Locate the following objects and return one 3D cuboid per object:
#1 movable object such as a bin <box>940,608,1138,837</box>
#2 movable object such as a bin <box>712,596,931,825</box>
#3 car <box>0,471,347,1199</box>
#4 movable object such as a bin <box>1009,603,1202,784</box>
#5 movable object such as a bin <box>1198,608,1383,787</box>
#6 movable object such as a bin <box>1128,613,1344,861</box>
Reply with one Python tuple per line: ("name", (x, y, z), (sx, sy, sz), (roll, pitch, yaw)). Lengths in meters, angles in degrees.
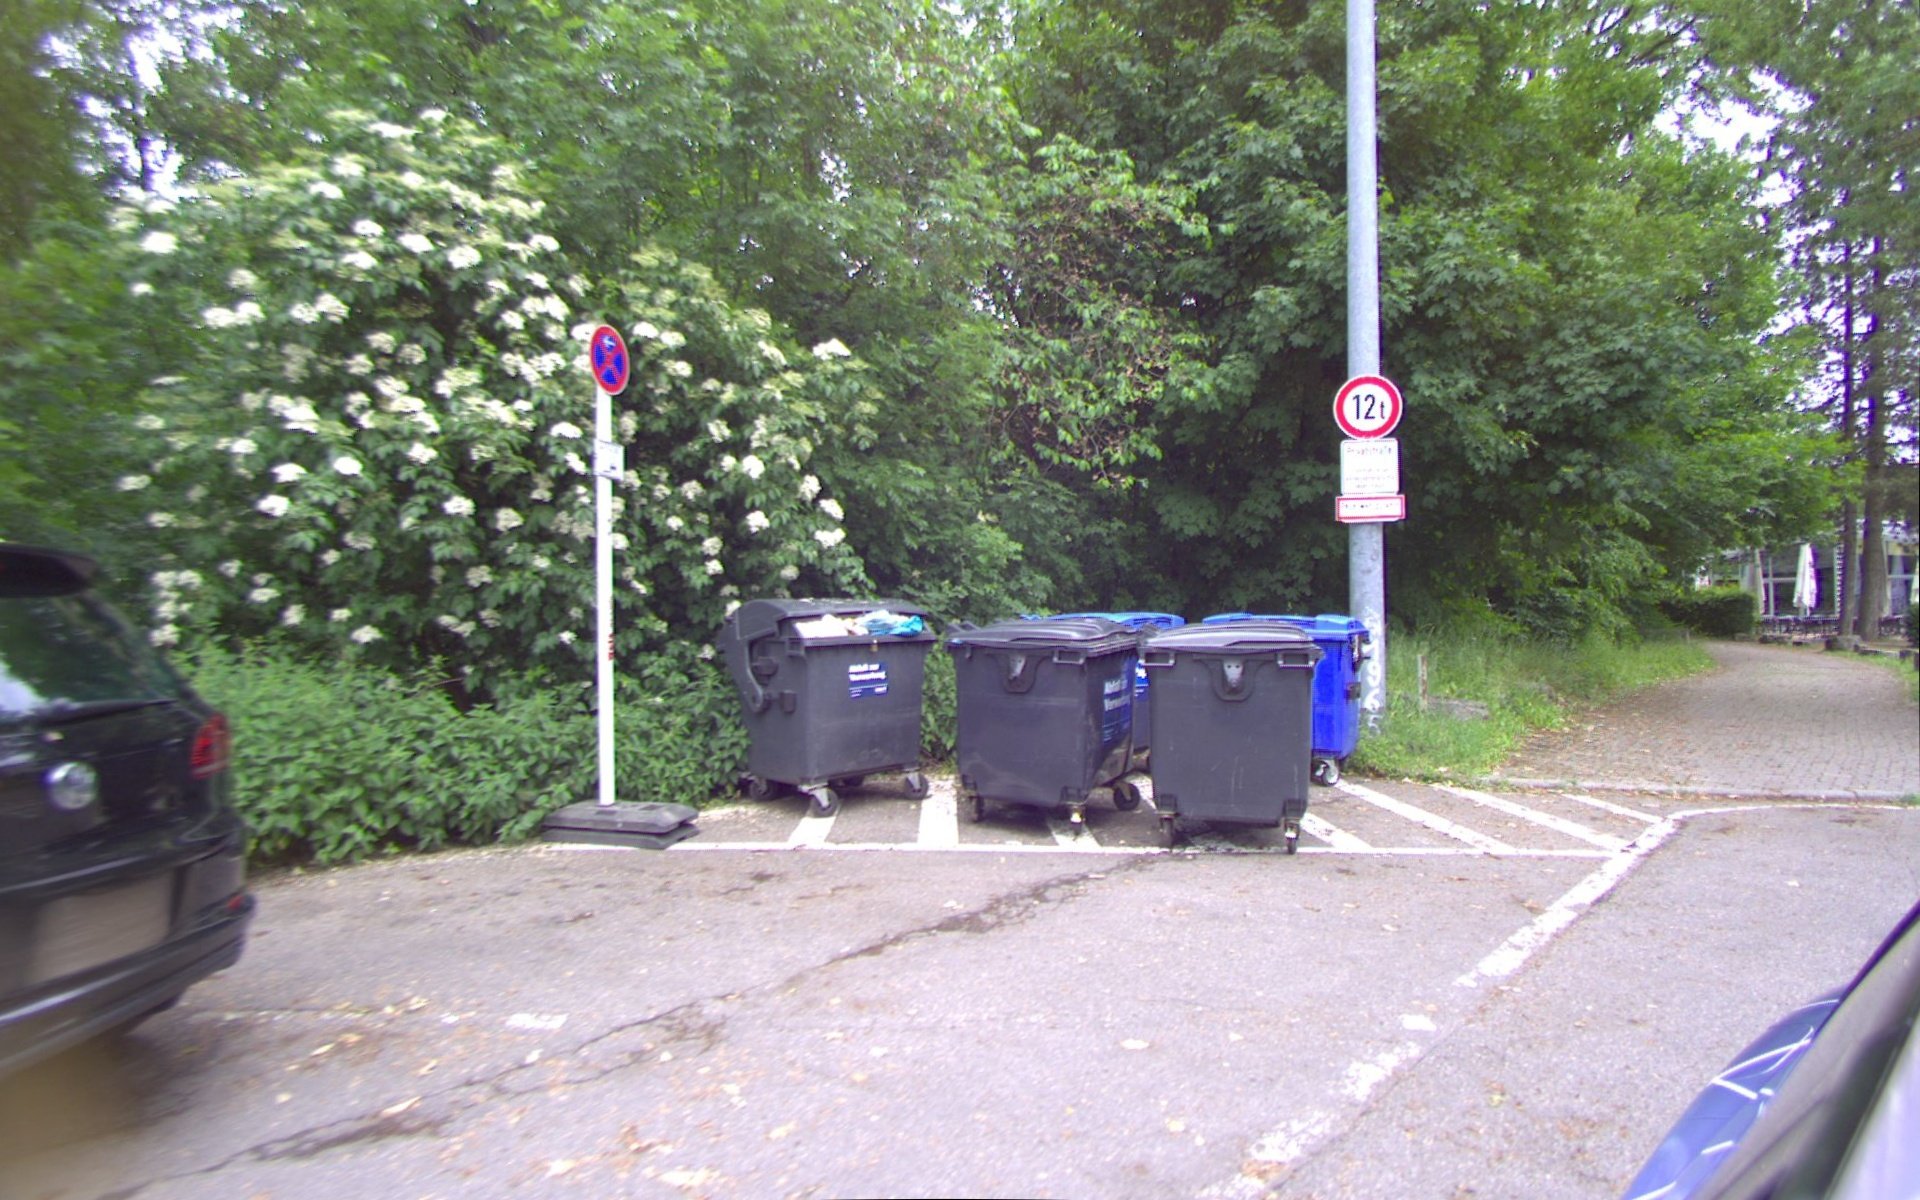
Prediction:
("movable object such as a bin", (0.563, 0.724, 6.666), (1.111, 1.331, 1.179), (0, 0, 15))
("movable object such as a bin", (-0.983, 0.694, 7.172), (1.111, 1.443, 1.125), (0, 0, -42))
("car", (-4.030, 0.571, 2.493), (3.995, 1.706, 1.784), (0, 0, 2))
("movable object such as a bin", (1.213, 0.700, 8.373), (1.122, 1.337, 1.222), (0, 0, 40))
("movable object such as a bin", (2.784, 0.741, 8.491), (1.248, 1.342, 1.133), (0, 0, 33))
("movable object such as a bin", (1.688, 0.751, 6.273), (1.156, 1.324, 1.307), (0, 0, 15))
